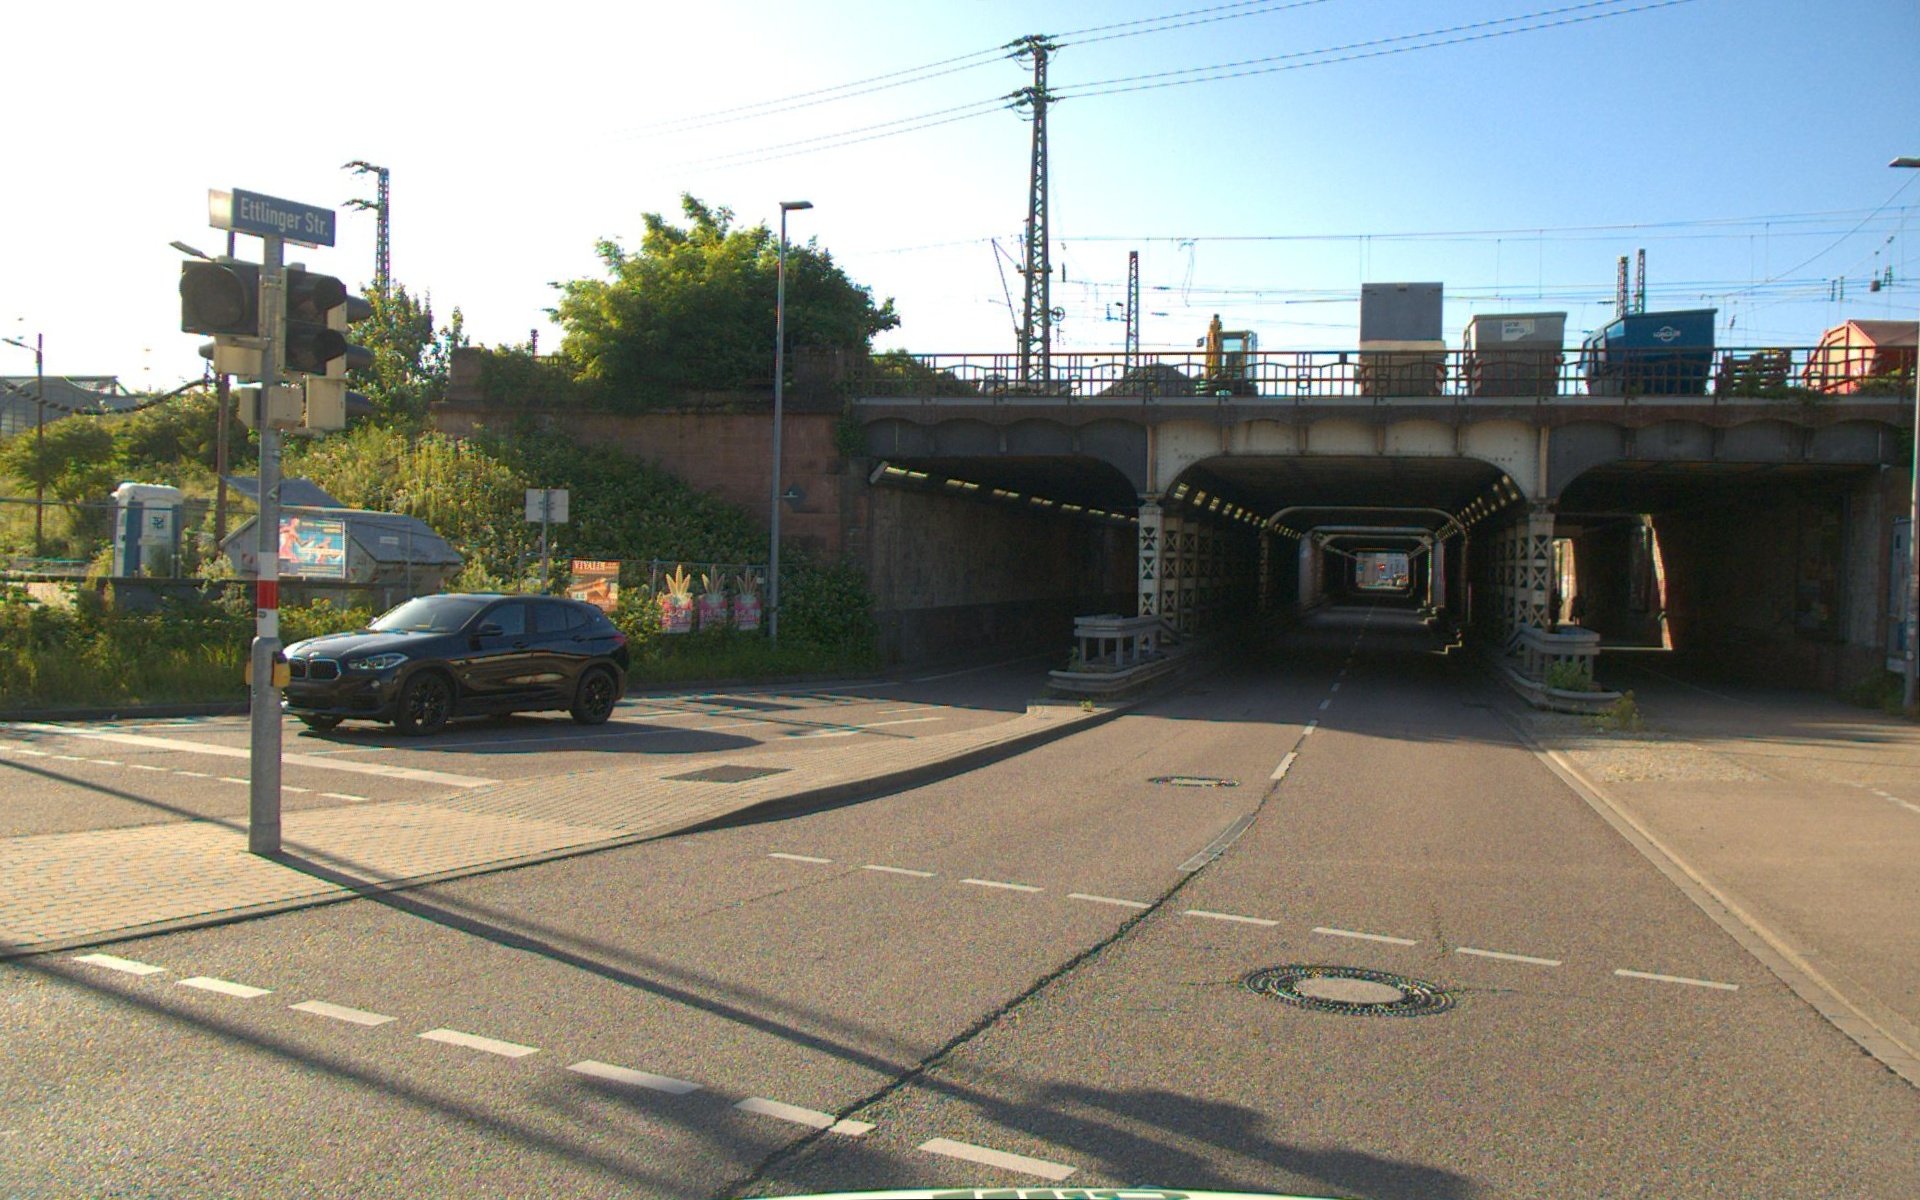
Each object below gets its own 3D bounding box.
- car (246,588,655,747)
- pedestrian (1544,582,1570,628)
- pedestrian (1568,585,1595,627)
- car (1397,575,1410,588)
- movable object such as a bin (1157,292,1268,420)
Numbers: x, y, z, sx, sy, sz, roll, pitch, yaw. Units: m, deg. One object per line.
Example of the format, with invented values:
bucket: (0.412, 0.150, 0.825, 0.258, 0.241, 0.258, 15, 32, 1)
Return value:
car: (-5.647, 0.695, 18.936, 1.913, 1.544, 4.380, 1, 0, 28)
pedestrian: (24.656, 0.201, 68.355, 0.861, 1.867, 0.923, -1, 1, 12)
pedestrian: (25.606, 0.255, 68.149, 0.896, 1.685, 0.887, -1, 1, 12)
car: (66.727, -2.772, 248.868, 1.951, 1.815, 4.003, 1, 1, 14)
movable object such as a bin: (6.001, -5.644, 38.853, 1.951, 2.265, 4.834, 2, 0, 16)
